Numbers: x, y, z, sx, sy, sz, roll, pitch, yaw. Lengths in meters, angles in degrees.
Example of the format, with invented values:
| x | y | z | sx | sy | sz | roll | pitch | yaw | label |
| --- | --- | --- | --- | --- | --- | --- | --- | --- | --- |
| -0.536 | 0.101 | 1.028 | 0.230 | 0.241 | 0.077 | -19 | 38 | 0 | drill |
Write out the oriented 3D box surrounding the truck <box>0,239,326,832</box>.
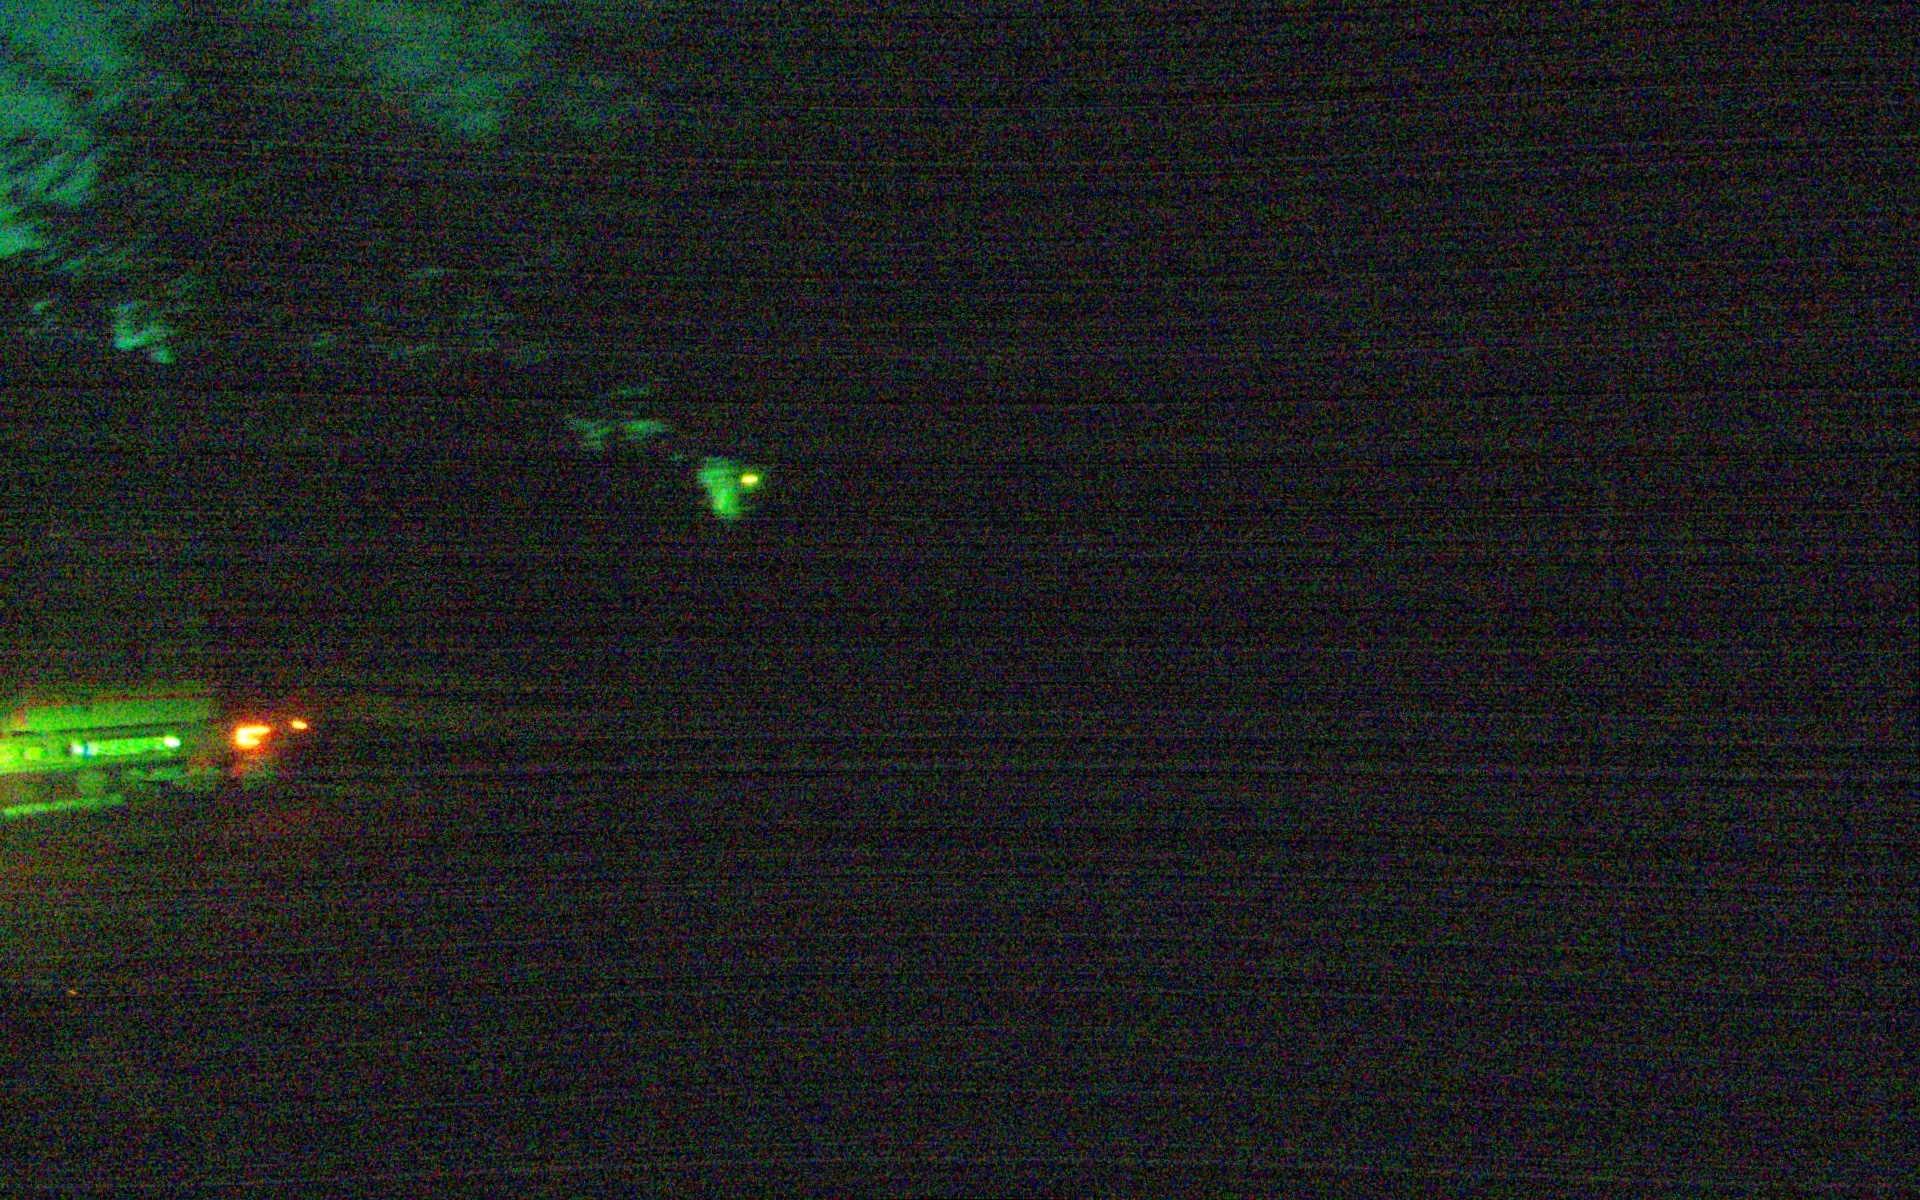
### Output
| x | y | z | sx | sy | sz | roll | pitch | yaw | label |
| --- | --- | --- | --- | --- | --- | --- | --- | --- | --- |
| -11.783 | -0.317 | 11.164 | 12.953 | 4.159 | 2.683 | -1 | -1 | 32 | truck |
